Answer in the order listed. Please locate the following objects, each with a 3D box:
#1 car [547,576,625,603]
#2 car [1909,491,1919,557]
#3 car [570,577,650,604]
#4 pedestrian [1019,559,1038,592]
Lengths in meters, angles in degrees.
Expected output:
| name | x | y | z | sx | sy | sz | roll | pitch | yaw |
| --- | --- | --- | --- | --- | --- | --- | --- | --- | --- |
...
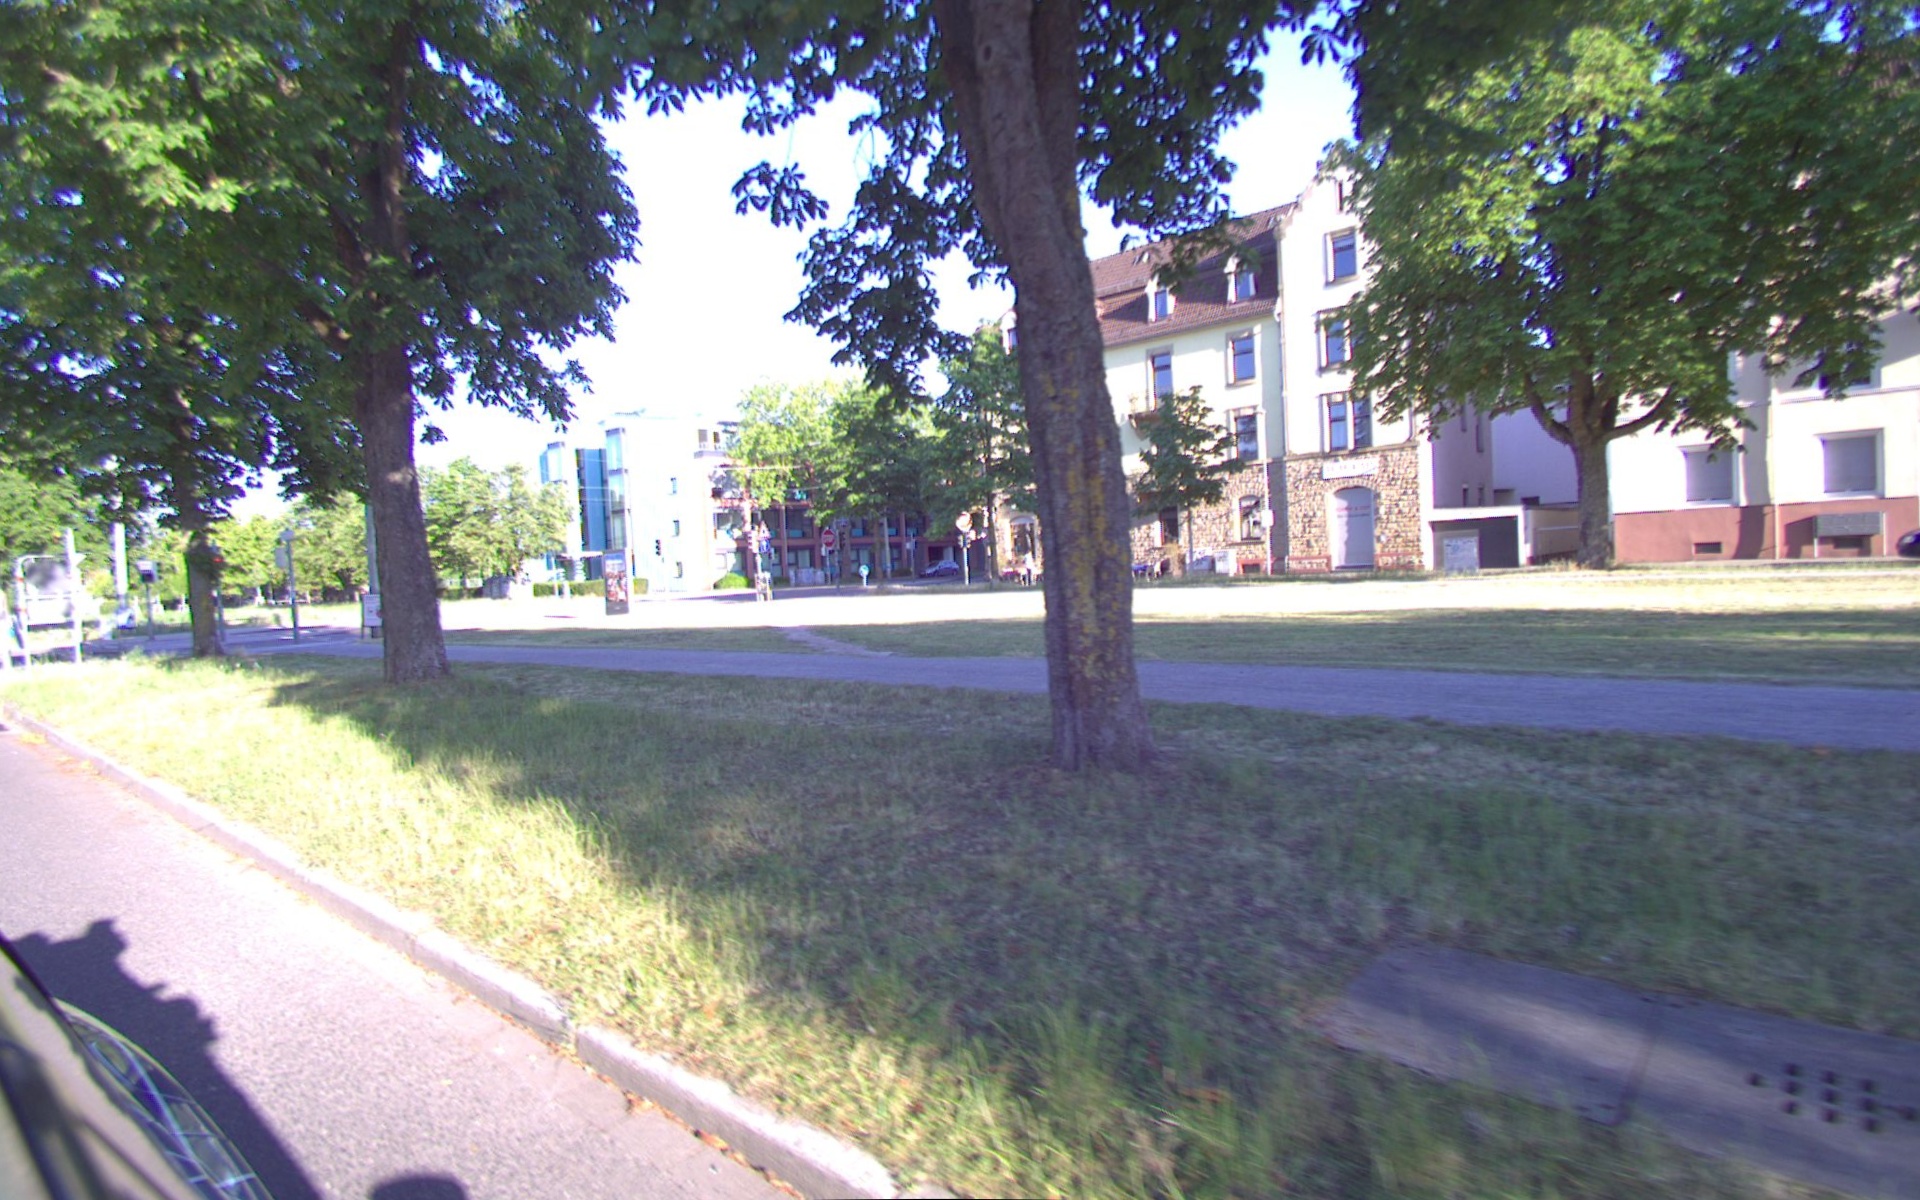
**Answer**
| name | x | y | z | sx | sy | sz | roll | pitch | yaw |
| --- | --- | --- | --- | --- | --- | --- | --- | --- | --- |
| car | -27.778 | -0.809 | 75.356 | 1.965 | 1.683 | 5.157 | 0 | 3 | 38 |
| car | 28.332 | -2.168 | 27.052 | 4.312 | 1.748 | 1.973 | 0 | 6 | 44 |
| car | -25.383 | -0.723 | 73.569 | 1.998 | 1.684 | 5.156 | -1 | 3 | 39 |
| pedestrian | 3.494 | -1.264 | 51.658 | 0.682 | 1.636 | 0.610 | -1 | 5 | 40 |
